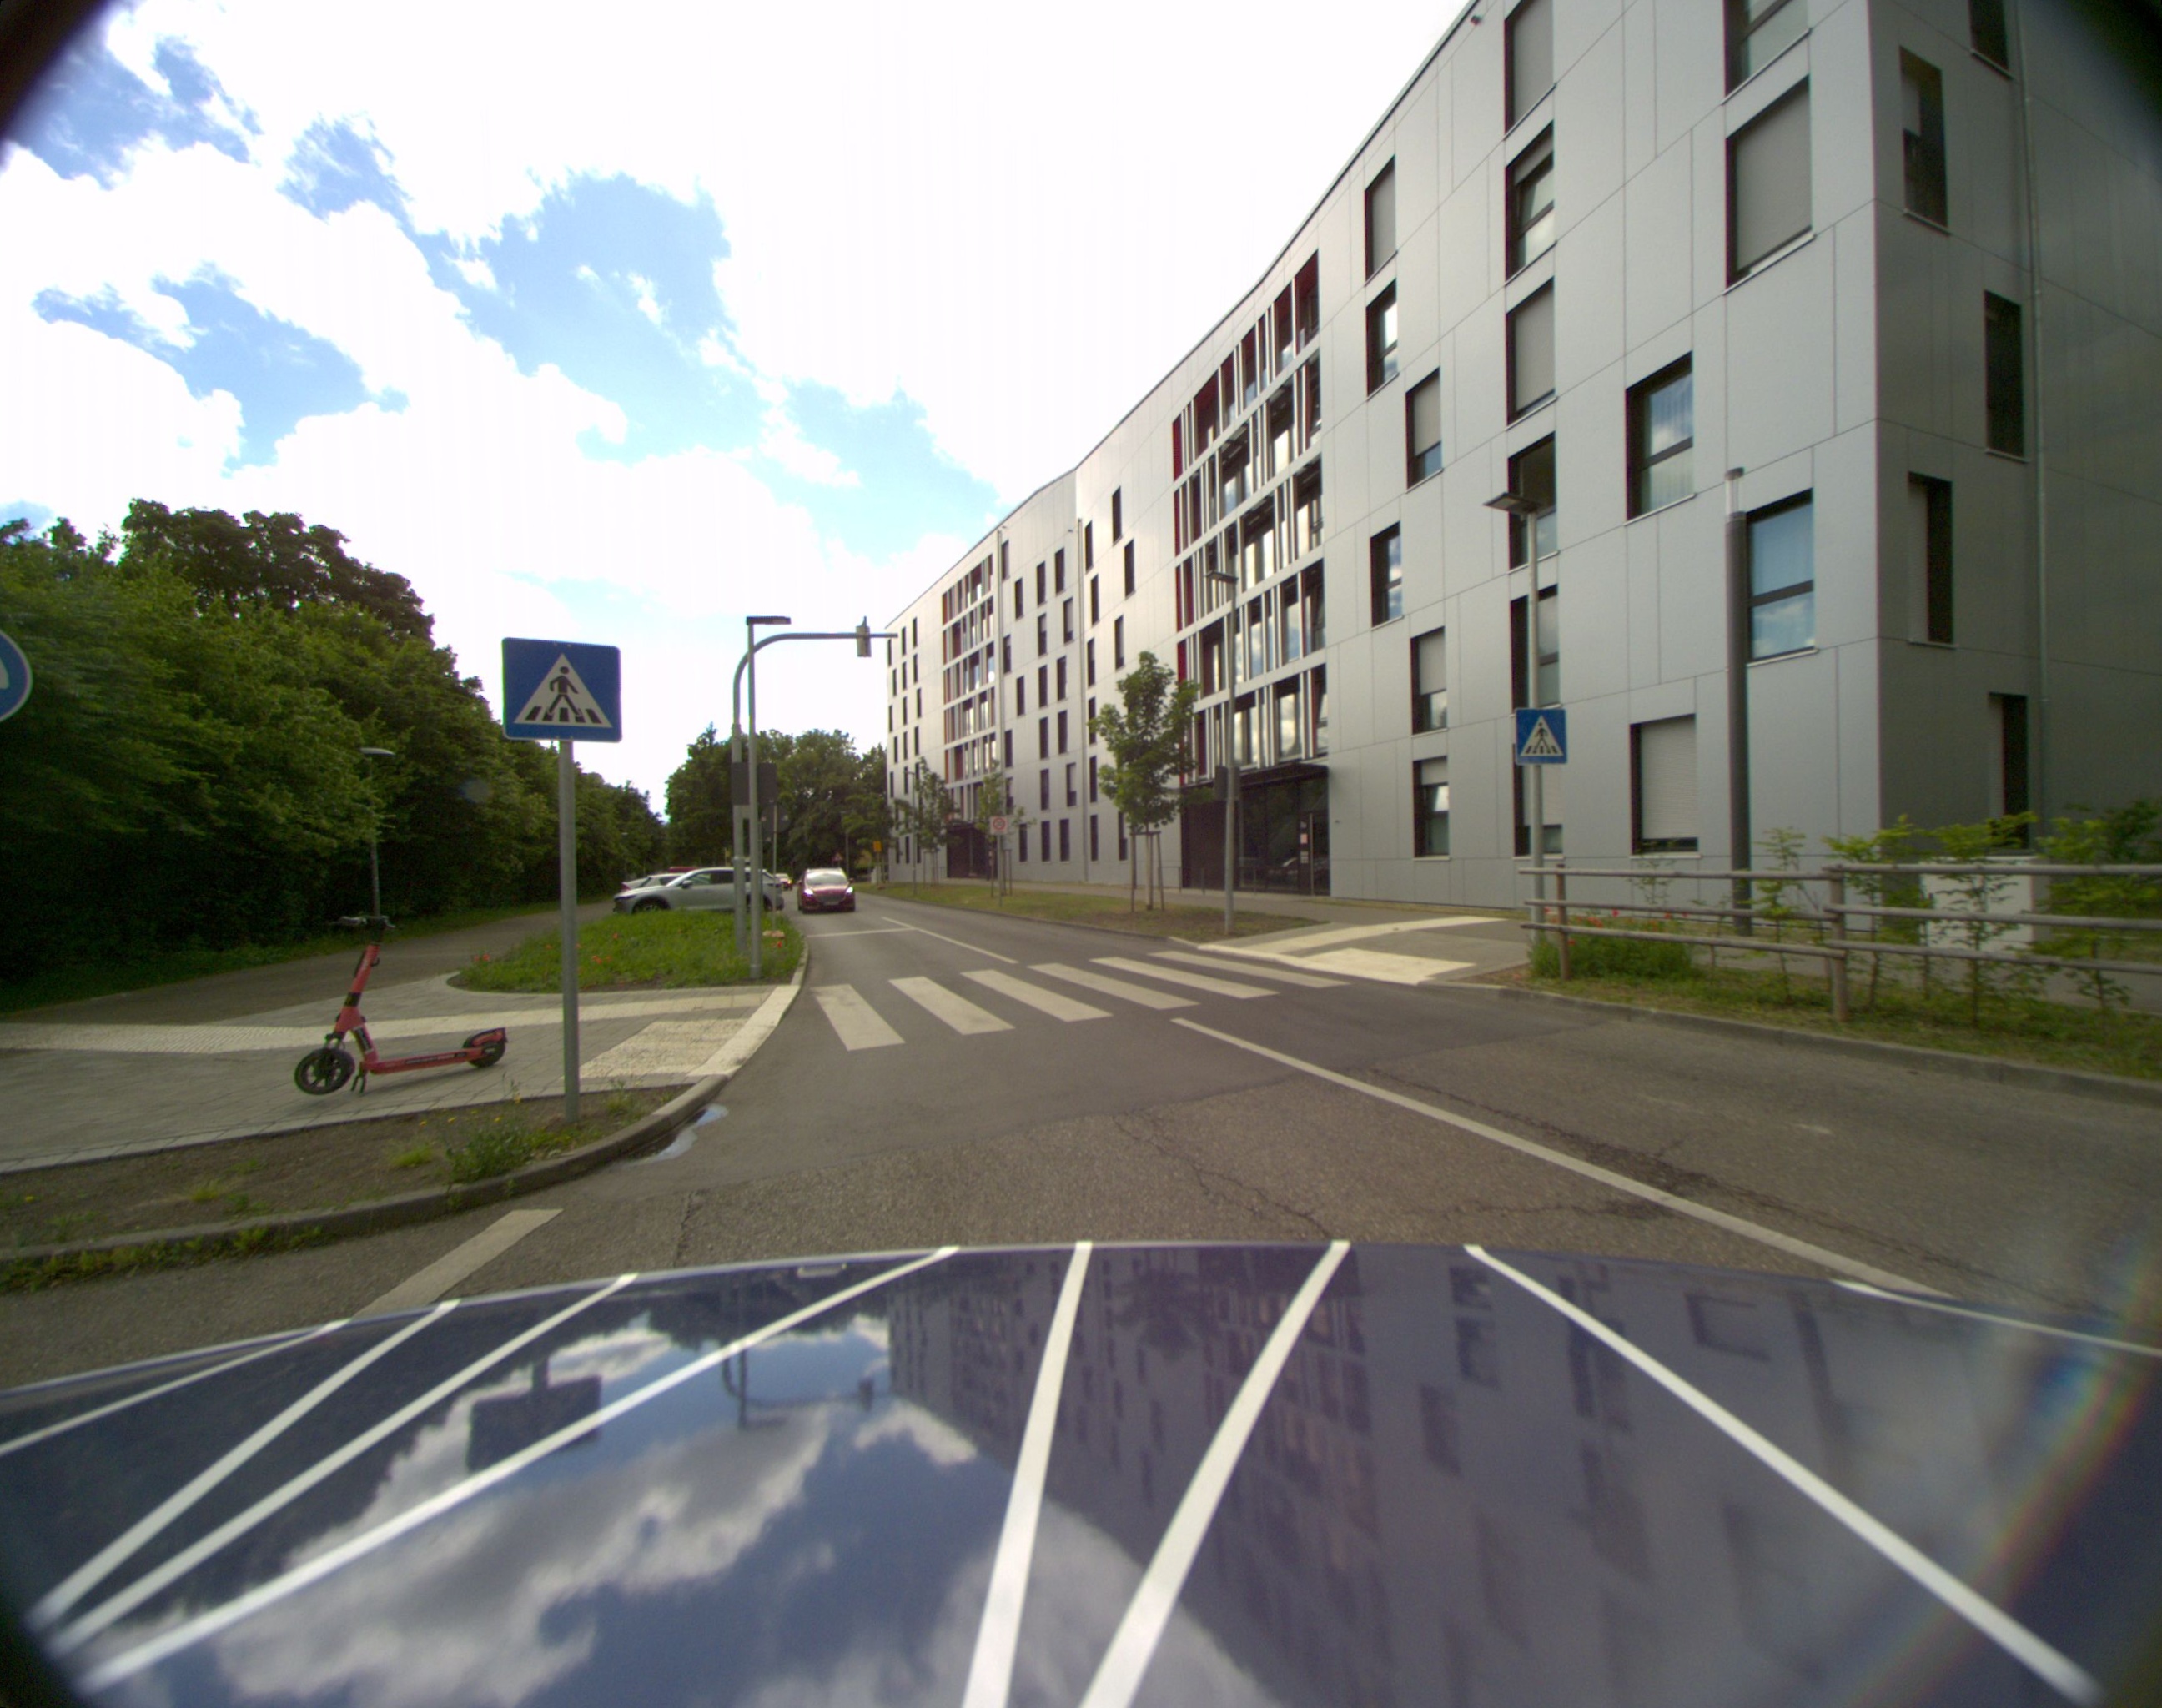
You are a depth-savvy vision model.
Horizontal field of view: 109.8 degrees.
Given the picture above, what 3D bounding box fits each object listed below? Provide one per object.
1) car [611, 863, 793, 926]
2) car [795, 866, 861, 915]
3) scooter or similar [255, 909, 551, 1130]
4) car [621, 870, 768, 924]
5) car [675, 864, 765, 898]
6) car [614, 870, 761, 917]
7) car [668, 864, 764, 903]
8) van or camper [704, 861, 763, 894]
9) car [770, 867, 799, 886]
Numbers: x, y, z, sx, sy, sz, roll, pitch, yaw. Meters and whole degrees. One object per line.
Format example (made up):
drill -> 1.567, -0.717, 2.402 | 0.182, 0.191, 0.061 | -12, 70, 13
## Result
car -> -11.244, 1.164, 22.776 | 4.671, 1.741, 2.065 | 1, -1, -28
car -> -9.768, 1.324, 29.135 | 1.936, 1.622, 4.234 | -3, 1, -24
scooter or similar -> -4.992, 1.129, 5.696 | 0.571, 1.305, 1.528 | -2, 0, 35
car -> -12.654, 1.353, 25.085 | 4.174, 1.576, 1.792 | -1, -1, -26
car -> -20.763, 1.532, 43.799 | 4.572, 1.887, 1.880 | 1, -1, -26
car -> -13.922, 1.364, 27.117 | 4.498, 1.553, 1.908 | 0, -1, -26
car -> -18.600, 1.456, 38.863 | 4.300, 1.881, 1.834 | 0, -1, -26
van or camper -> -27.405, 1.827, 59.975 | 3.986, 2.306, 1.880 | -4, 1, -26
car -> -25.326, 1.908, 64.889 | 1.821, 1.608, 3.991 | 0, -1, -28
